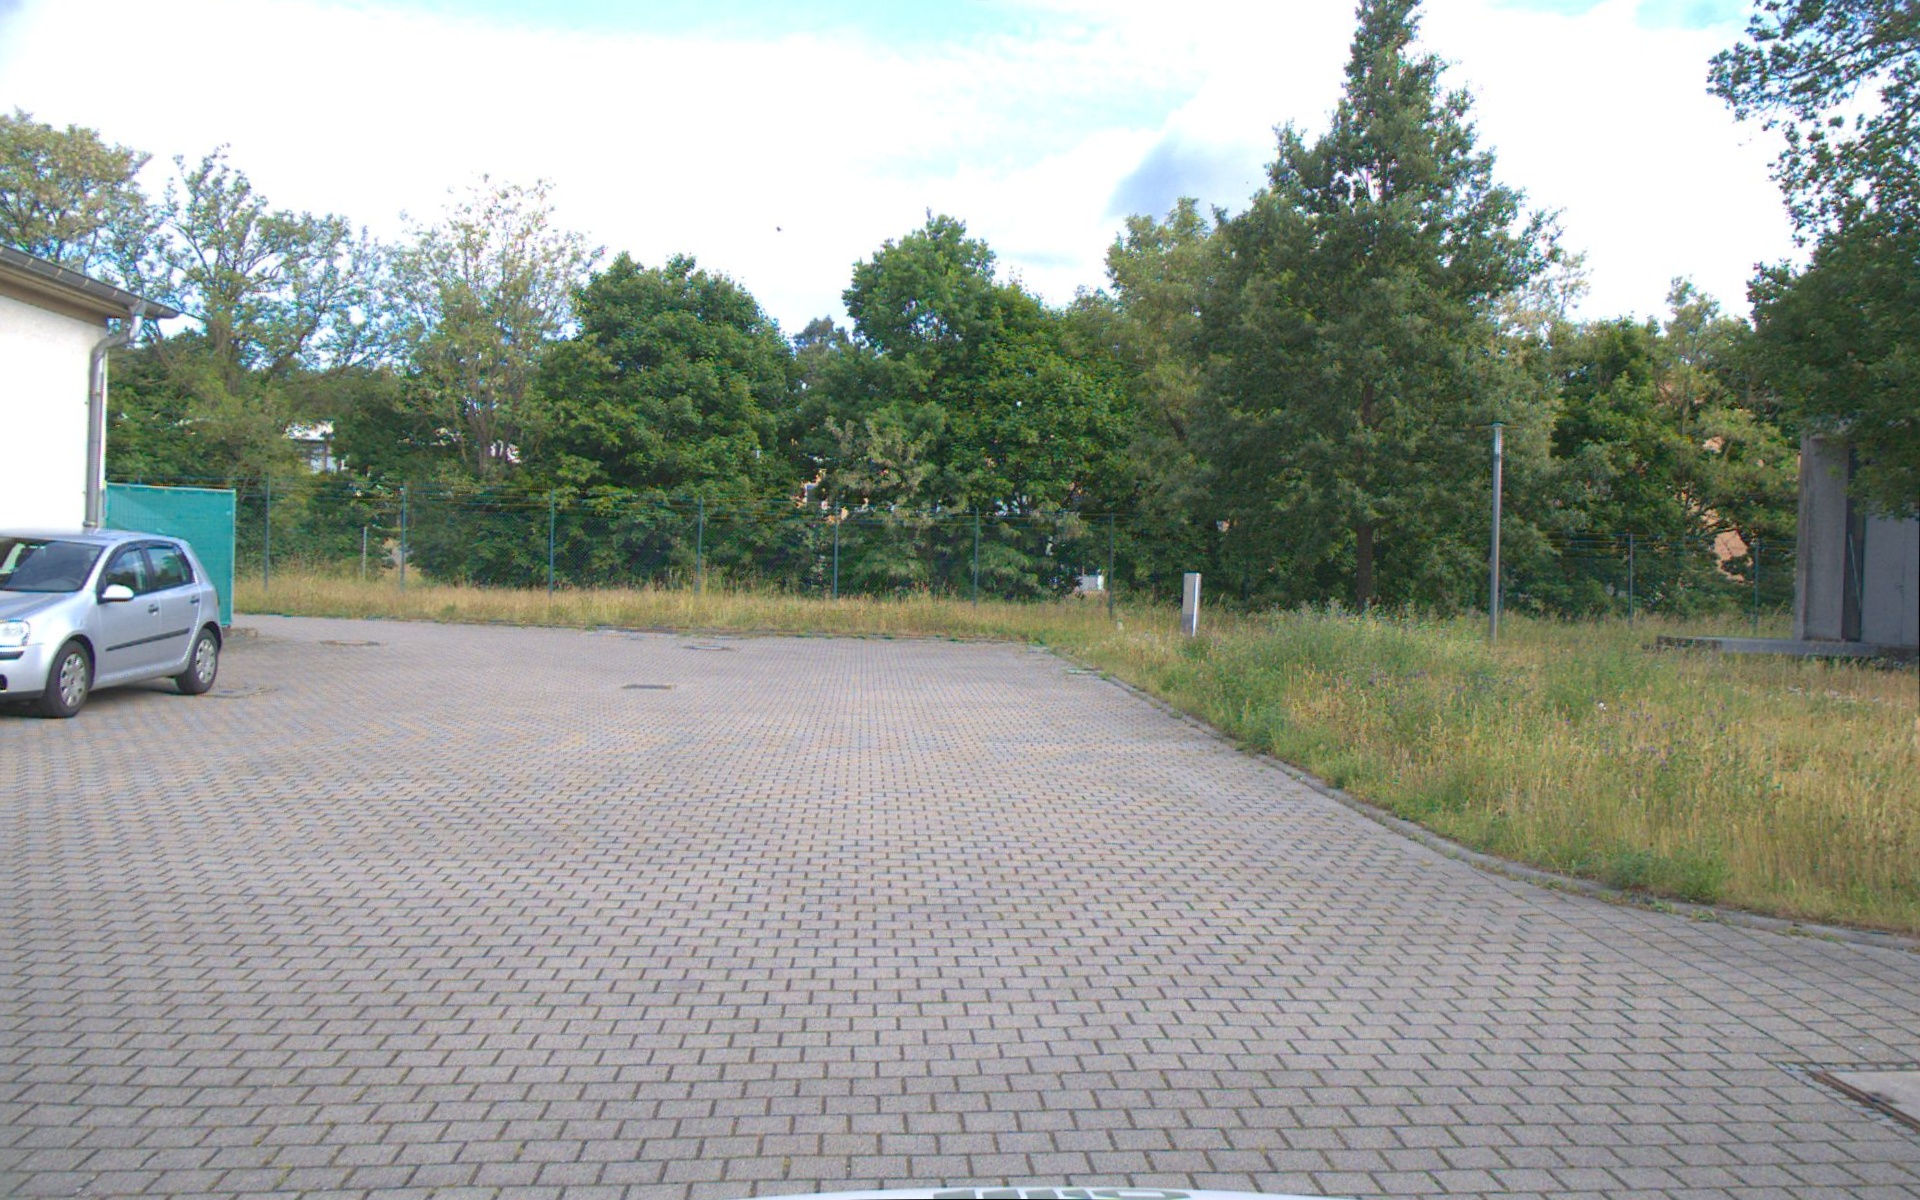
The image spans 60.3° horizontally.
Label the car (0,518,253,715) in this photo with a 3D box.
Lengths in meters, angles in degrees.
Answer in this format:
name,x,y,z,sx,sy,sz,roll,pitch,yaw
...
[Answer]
name,x,y,z,sx,sy,sz,roll,pitch,yaw
car,-7.920,0.044,14.425,1.887,1.464,4.364,1,1,-5
